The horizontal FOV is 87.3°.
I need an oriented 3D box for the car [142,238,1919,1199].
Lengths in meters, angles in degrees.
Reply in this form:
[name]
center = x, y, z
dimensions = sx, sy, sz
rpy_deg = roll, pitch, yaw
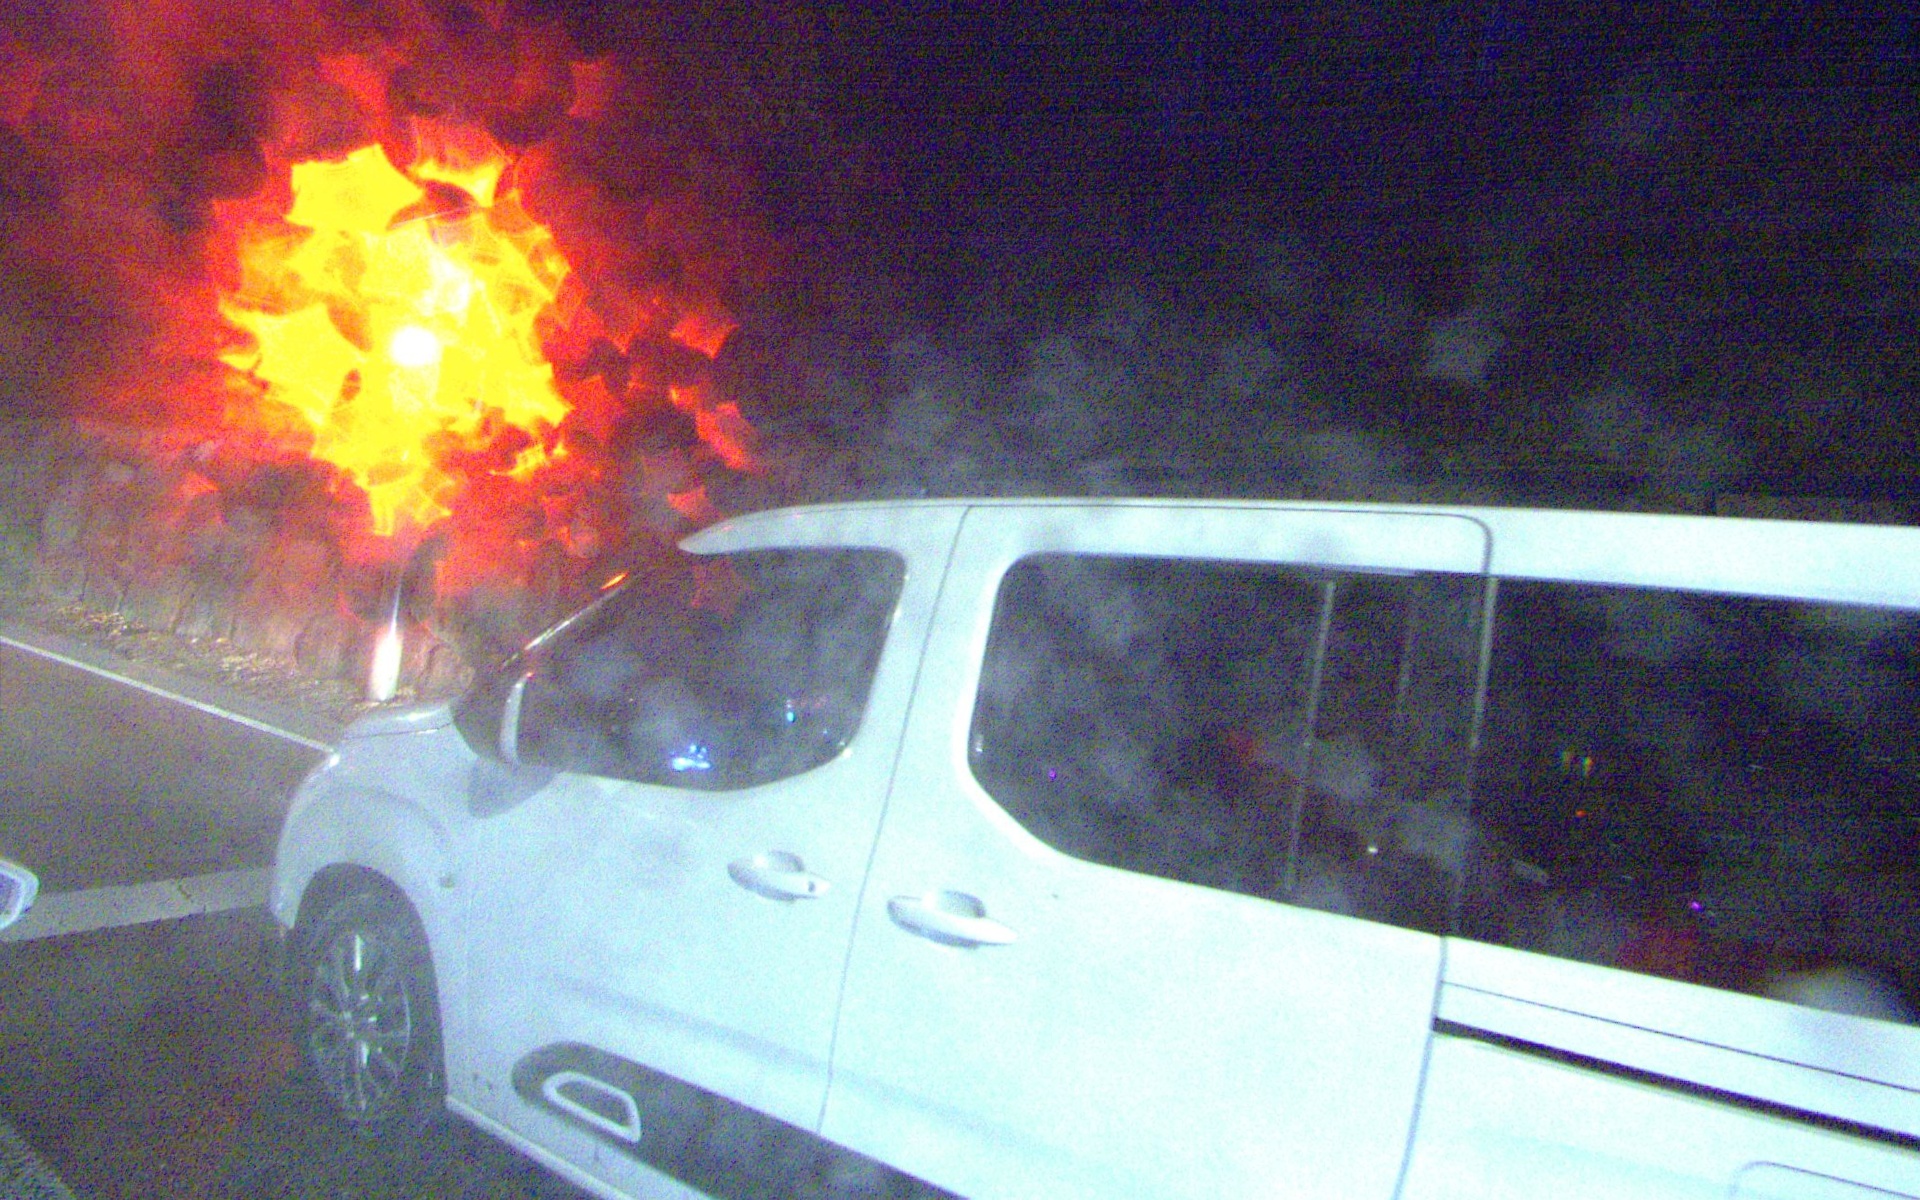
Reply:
[car]
center = 0.207, 0.586, 2.486
dimensions = 4.501, 2.045, 1.795
rpy_deg = 7, -1, 30
